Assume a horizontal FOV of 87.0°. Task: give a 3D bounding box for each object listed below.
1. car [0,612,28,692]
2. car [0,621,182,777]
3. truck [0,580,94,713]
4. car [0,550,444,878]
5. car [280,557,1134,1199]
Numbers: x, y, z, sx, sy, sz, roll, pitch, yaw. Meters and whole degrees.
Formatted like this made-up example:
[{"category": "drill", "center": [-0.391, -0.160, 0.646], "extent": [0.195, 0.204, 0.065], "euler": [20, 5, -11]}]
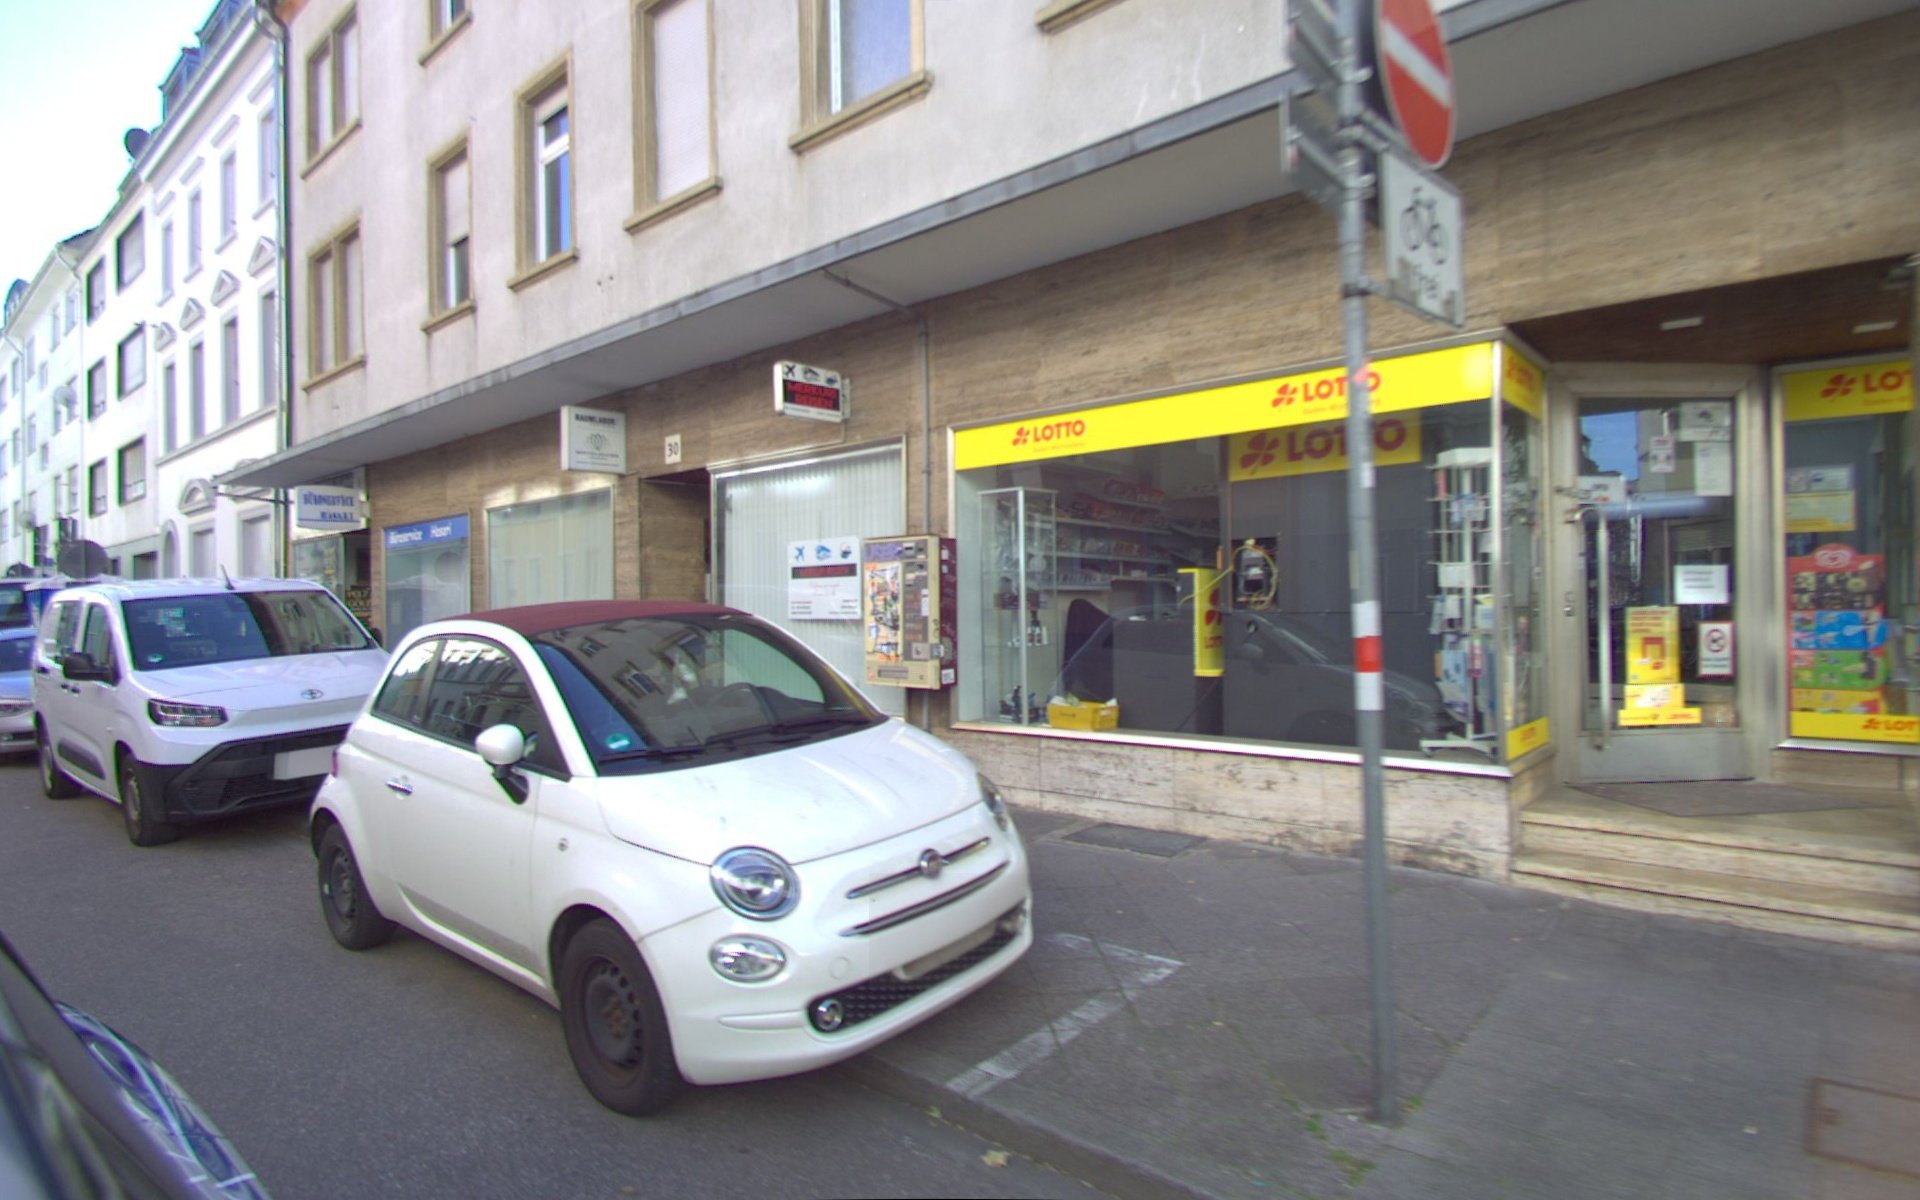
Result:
[{"category": "car", "center": [-25.222, 1.259, 25.259], "extent": [5.176, 1.896, 1.895], "euler": [-1, -3, 37]}, {"category": "car", "center": [-10.785, 1.050, 11.909], "extent": [4.485, 1.535, 1.647], "euler": [-2, -3, 40]}, {"category": "truck", "center": [-19.163, 0.830, 19.605], "extent": [6.335, 2.326, 2.145], "euler": [0, -2, 36]}, {"category": "car", "center": [-6.120, 0.741, 8.145], "extent": [4.805, 1.913, 1.749], "euler": [-2, -3, 40]}, {"category": "car", "center": [-1.320, 0.720, 4.193], "extent": [3.721, 1.572, 1.650], "euler": [-1, -1, 42]}]
